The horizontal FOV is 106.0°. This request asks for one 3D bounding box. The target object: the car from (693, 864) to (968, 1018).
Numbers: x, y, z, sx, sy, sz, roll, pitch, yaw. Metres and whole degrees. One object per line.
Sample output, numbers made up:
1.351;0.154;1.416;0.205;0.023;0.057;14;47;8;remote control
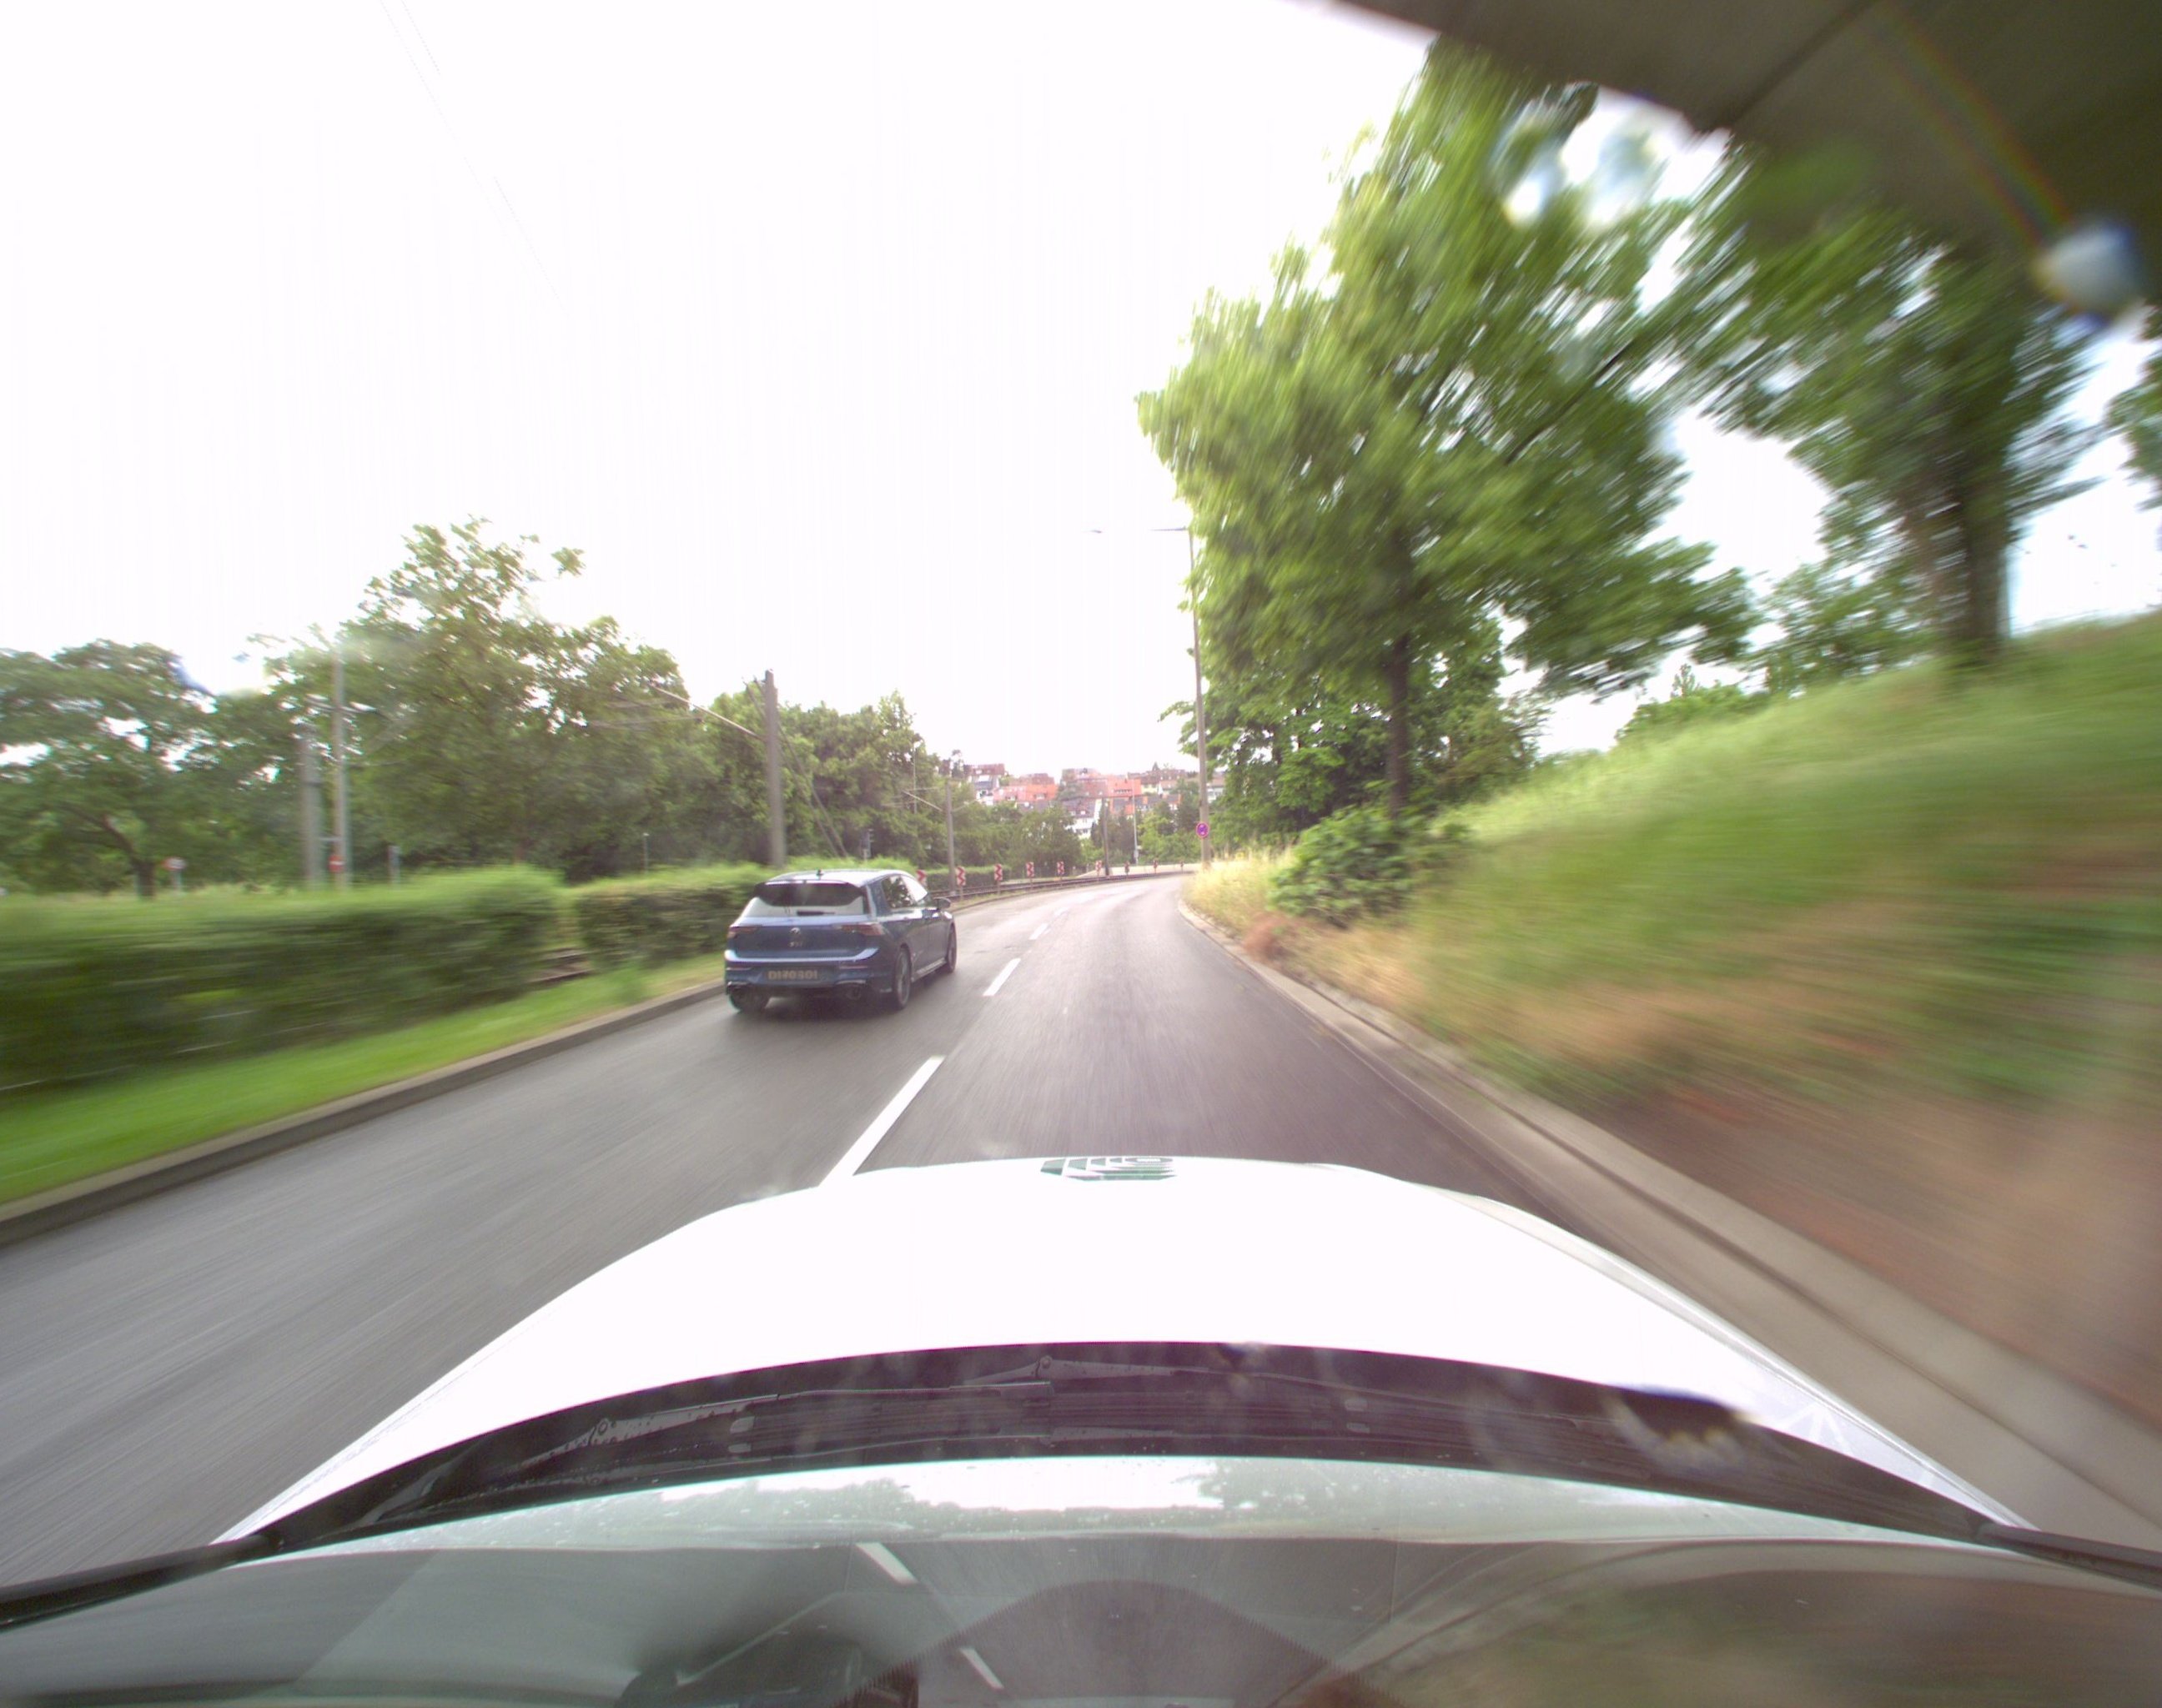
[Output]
-2.632;0.840;9.729;1.801;1.378;4.348;-1;-1;2;car
